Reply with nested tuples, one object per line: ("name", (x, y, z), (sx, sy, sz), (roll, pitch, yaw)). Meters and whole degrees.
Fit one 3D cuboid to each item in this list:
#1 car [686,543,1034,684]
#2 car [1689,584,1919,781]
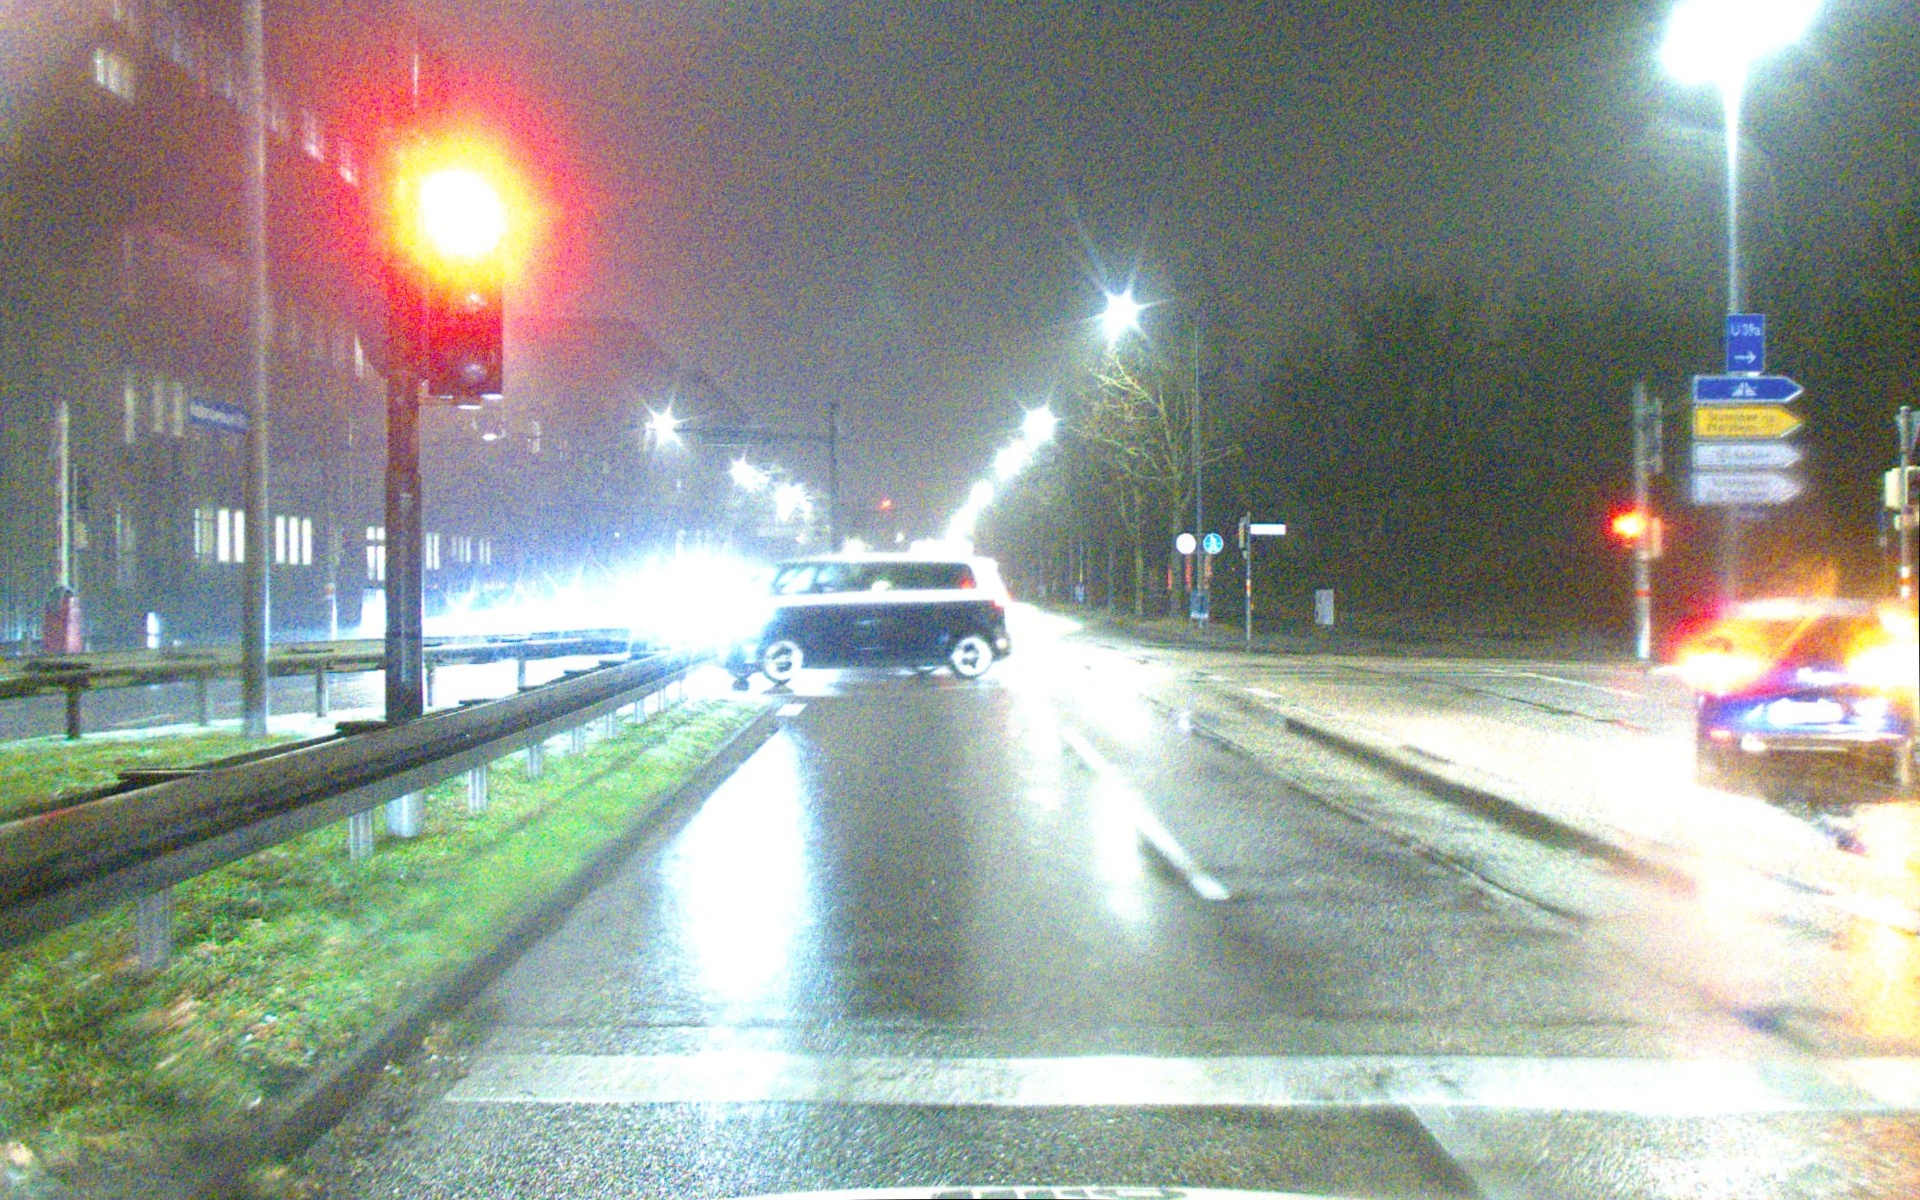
("car", (-1.527, 0.170, 25.612), (5.031, 2.019, 1.983), (-1, 0, -26))
("car", (7.718, 0.633, 15.125), (1.716, 1.455, 3.756), (1, 2, 27))
